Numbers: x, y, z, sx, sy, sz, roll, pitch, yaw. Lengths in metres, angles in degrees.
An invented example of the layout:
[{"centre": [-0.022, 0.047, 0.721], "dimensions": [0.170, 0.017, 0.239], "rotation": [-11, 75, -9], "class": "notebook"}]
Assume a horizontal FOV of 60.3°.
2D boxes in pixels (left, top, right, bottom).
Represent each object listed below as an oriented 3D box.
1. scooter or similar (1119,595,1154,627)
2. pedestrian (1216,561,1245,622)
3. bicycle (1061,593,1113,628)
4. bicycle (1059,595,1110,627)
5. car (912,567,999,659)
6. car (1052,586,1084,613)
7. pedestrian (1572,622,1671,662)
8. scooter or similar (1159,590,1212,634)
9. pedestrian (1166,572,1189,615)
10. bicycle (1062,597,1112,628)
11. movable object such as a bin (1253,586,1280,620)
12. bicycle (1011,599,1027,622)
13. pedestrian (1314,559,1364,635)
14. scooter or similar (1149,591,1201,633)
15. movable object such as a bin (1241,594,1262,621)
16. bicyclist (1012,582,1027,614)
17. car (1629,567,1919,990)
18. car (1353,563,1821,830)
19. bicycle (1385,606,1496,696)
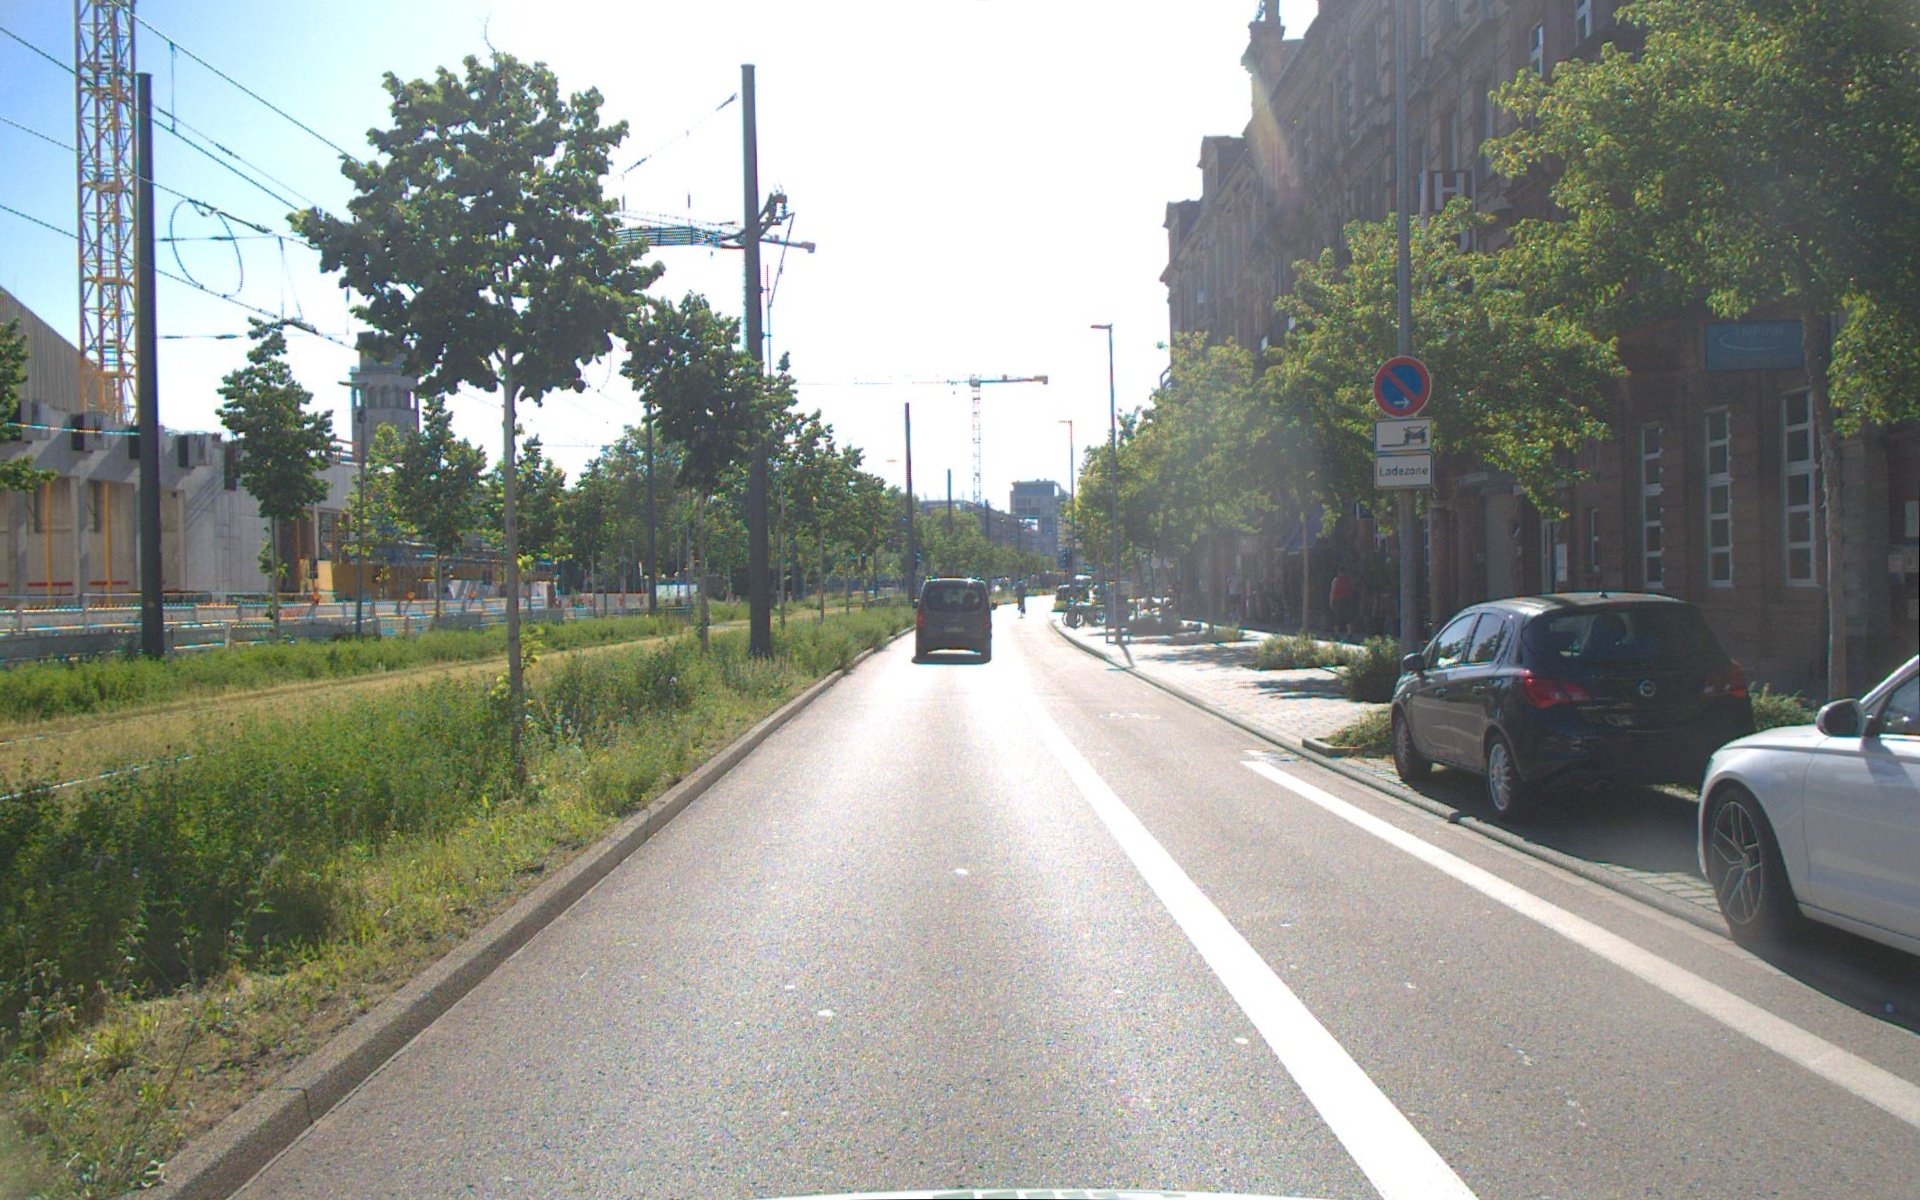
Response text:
[{"centre": [6.446, 0.395, 60.464], "dimensions": [1.194, 1.125, 0.783], "rotation": [-2, 1, 2], "class": "scooter or similar"}, {"centre": [9.223, -0.278, 56.487], "dimensions": [0.801, 2.049, 1.046], "rotation": [0, -2, -1], "class": "pedestrian"}, {"centre": [4.861, 0.404, 63.297], "dimensions": [1.843, 1.255, 0.499], "rotation": [-3, 0, -6], "class": "bicycle"}, {"centre": [4.983, 0.446, 66.350], "dimensions": [1.879, 1.140, 0.664], "rotation": [-4, 0, -7], "class": "bicycle"}, {"centre": [-0.155, 0.299, 38.943], "dimensions": [1.953, 2.049, 3.998], "rotation": [0, 0, -2], "class": "car"}, {"centre": [6.891, -0.017, 105.495], "dimensions": [1.946, 1.666, 4.191], "rotation": [0, 0, 5], "class": "car"}, {"centre": [10.608, 0.665, 26.607], "dimensions": [0.757, 0.562, 2.007], "rotation": [-1, 1, -1], "class": "pedestrian"}, {"centre": [6.774, 0.353, 49.724], "dimensions": [1.444, 1.237, 0.601], "rotation": [-3, 1, -4], "class": "scooter or similar"}, {"centre": [9.189, -0.256, 69.858], "dimensions": [0.827, 1.772, 0.886], "rotation": [-2, -1, 0], "class": "pedestrian"}, {"centre": [4.980, 0.480, 64.833], "dimensions": [1.790, 1.097, 0.664], "rotation": [-4, 0, -7], "class": "bicycle"}, {"centre": [10.206, 0.103, 55.129], "dimensions": [0.711, 1.117, 0.747], "rotation": [-1, 0, -5], "class": "movable object such as a bin"}, {"centre": [3.009, 0.519, 84.047], "dimensions": [0.687, 1.110, 2.277], "rotation": [0, 0, -1], "class": "bicycle"}, {"centre": [8.964, -0.070, 39.187], "dimensions": [0.976, 1.762, 0.866], "rotation": [0, -1, -1], "class": "pedestrian"}, {"centre": [6.555, 0.370, 50.483], "dimensions": [1.447, 1.238, 0.600], "rotation": [2, 0, -11], "class": "scooter or similar"}, {"centre": [10.304, 0.273, 58.426], "dimensions": [0.592, 0.932, 0.650], "rotation": [-1, 0, -5], "class": "movable object such as a bin"}, {"centre": [3.019, -0.127, 84.082], "dimensions": [0.669, 1.612, 0.839], "rotation": [0, 0, -1], "class": "bicyclist"}, {"centre": [4.427, 0.617, 5.925], "dimensions": [1.912, 1.521, 5.104], "rotation": [-3, 0, 0], "class": "car"}, {"centre": [4.503, 0.628, 12.661], "dimensions": [1.846, 1.597, 4.219], "rotation": [-3, 0, -1], "class": "car"}, {"centre": [6.515, 0.671, 22.556], "dimensions": [0.637, 1.139, 2.169], "rotation": [-2, 0, -6], "class": "bicycle"}]
